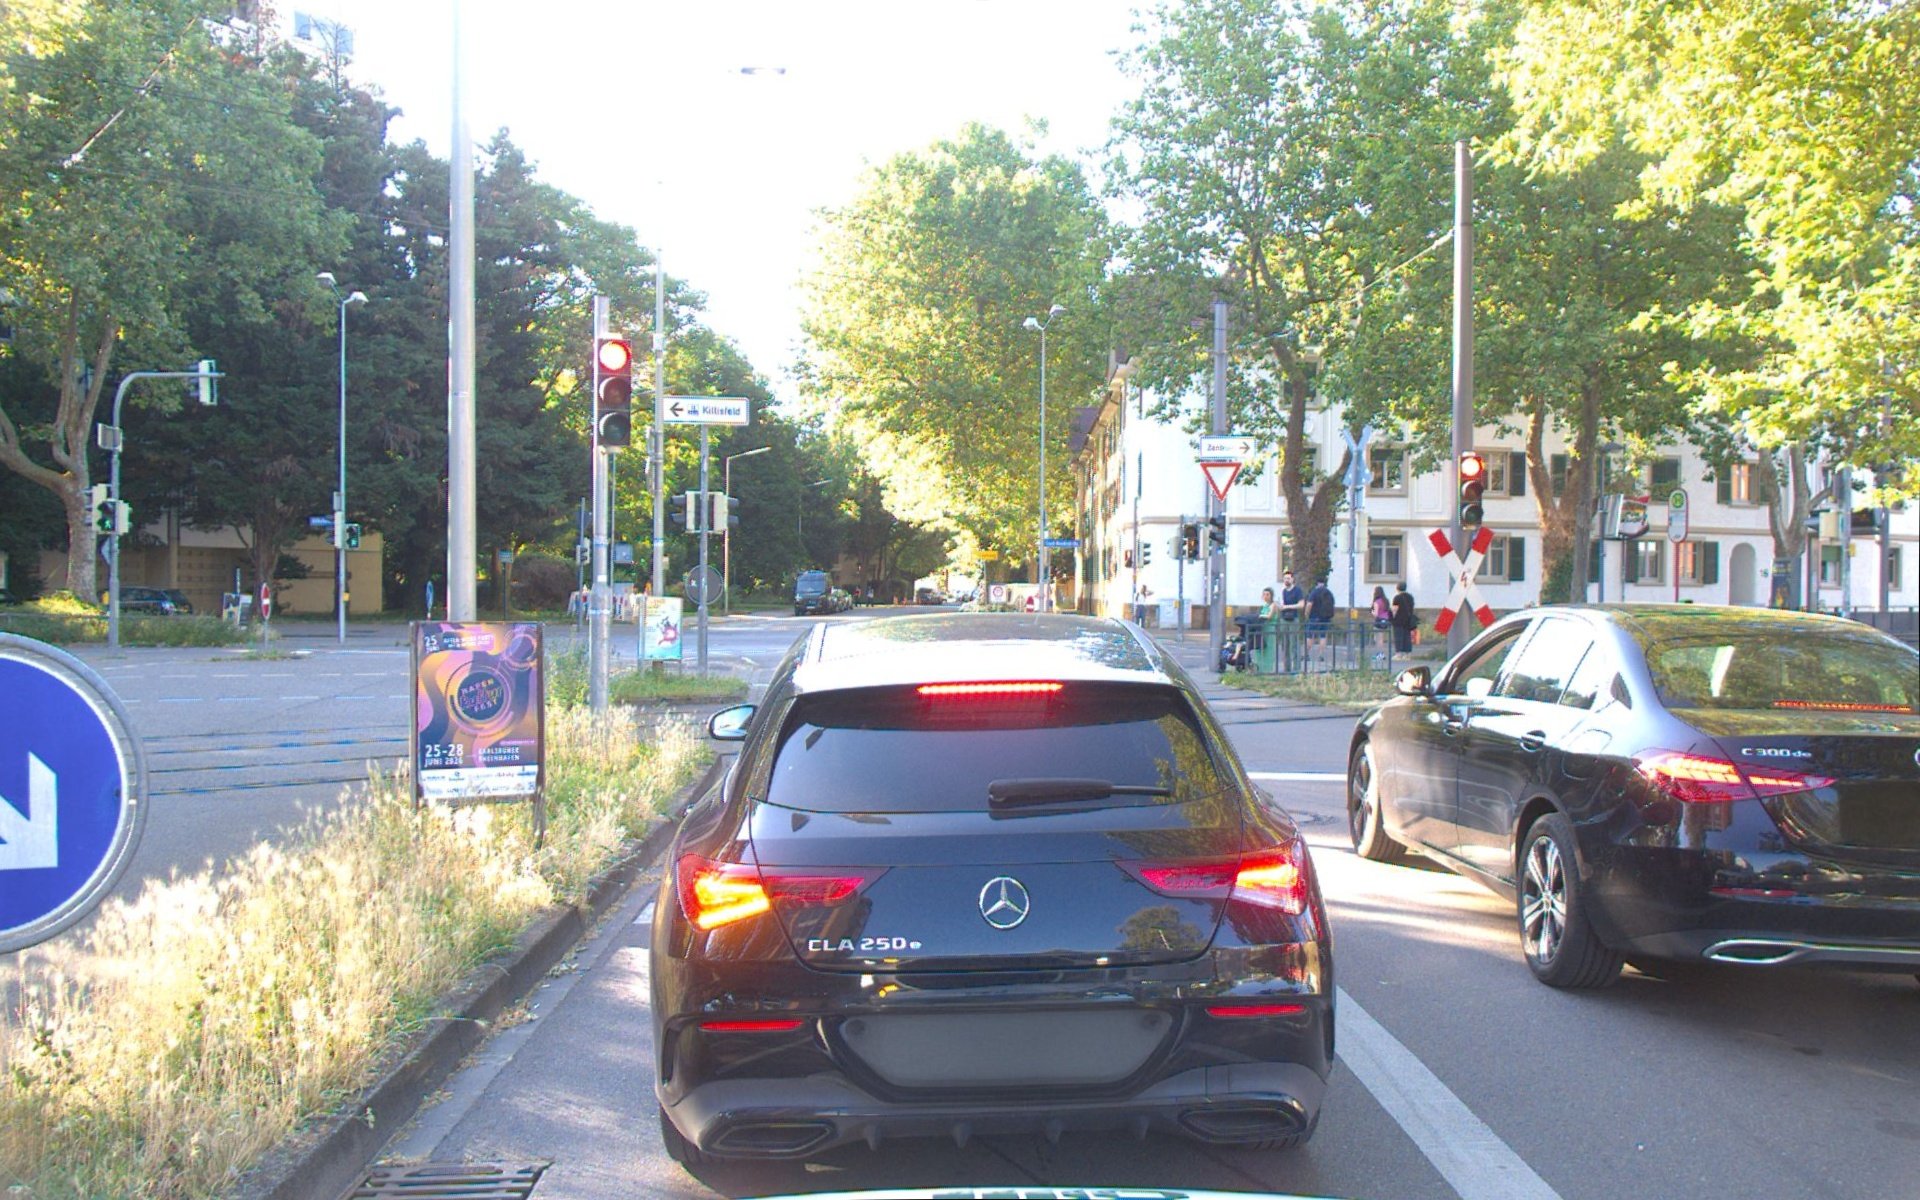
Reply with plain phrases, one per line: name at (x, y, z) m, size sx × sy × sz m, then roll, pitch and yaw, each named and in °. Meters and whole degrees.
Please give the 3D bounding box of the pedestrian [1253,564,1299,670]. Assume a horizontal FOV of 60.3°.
pedestrian at (5.911, 0.308, 30.973) m, size 0.669 × 1.951 × 0.706 m, roll 1°, pitch -1°, yaw -5°

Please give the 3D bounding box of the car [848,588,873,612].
car at (-7.597, -0.013, 126.212) m, size 1.698 × 1.796 × 3.970 m, roll 1°, pitch 0°, yaw -1°

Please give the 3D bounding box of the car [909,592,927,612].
car at (-3.998, 0.203, 158.399) m, size 1.698 × 1.796 × 4.018 m, roll 1°, pitch 0°, yaw -1°

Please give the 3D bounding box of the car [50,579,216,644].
car at (-24.383, 0.339, 48.845) m, size 3.902 × 1.805 × 2.001 m, roll 1°, pitch 0°, yaw 7°

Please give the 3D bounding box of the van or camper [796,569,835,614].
van or camper at (-8.682, -0.485, 99.611) m, size 1.953 × 2.586 × 4.650 m, roll 1°, pitch 0°, yaw -1°

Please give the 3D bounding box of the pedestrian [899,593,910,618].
pedestrian at (-4.361, 0.451, 129.951) m, size 0.692 × 1.951 × 0.837 m, roll 1°, pitch -1°, yaw -11°

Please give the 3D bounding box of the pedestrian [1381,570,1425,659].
pedestrian at (9.857, 0.317, 36.812) m, size 0.691 × 1.951 × 0.838 m, roll 1°, pitch -1°, yaw -4°

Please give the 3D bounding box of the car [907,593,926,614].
car at (-3.950, 0.314, 150.316) m, size 1.698 × 1.796 × 4.018 m, roll 1°, pitch 0°, yaw -1°

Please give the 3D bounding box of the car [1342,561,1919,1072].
car at (3.152, 0.640, 7.353) m, size 1.851 × 1.516 × 4.382 m, roll 1°, pitch 2°, yaw 0°

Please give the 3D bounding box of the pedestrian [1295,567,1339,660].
pedestrian at (7.646, 0.290, 35.420) m, size 0.691 × 1.951 × 0.838 m, roll 1°, pitch -1°, yaw -4°

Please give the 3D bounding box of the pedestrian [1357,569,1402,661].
pedestrian at (9.067, 0.330, 35.800) m, size 0.691 × 1.951 × 0.838 m, roll 1°, pitch -1°, yaw -4°

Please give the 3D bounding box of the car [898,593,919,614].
car at (-4.524, 0.345, 145.421) m, size 1.698 × 1.796 × 4.018 m, roll 1°, pitch 0°, yaw -1°

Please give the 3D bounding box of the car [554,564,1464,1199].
car at (0.115, 0.672, 5.410) m, size 1.851 × 1.475 × 4.001 m, roll 1°, pitch 2°, yaw 0°

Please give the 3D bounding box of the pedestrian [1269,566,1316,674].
pedestrian at (6.068, 0.361, 30.203) m, size 0.669 × 1.951 × 0.707 m, roll 1°, pitch -1°, yaw -3°

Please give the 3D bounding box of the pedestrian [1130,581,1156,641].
pedestrian at (5.983, 0.366, 54.102) m, size 0.691 × 1.951 × 0.838 m, roll 1°, pitch -1°, yaw -4°

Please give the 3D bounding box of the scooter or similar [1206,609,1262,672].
scooter or similar at (5.010, 0.728, 30.228) m, size 0.812 × 1.124 × 0.808 m, roll 1°, pitch 0°, yaw -6°
